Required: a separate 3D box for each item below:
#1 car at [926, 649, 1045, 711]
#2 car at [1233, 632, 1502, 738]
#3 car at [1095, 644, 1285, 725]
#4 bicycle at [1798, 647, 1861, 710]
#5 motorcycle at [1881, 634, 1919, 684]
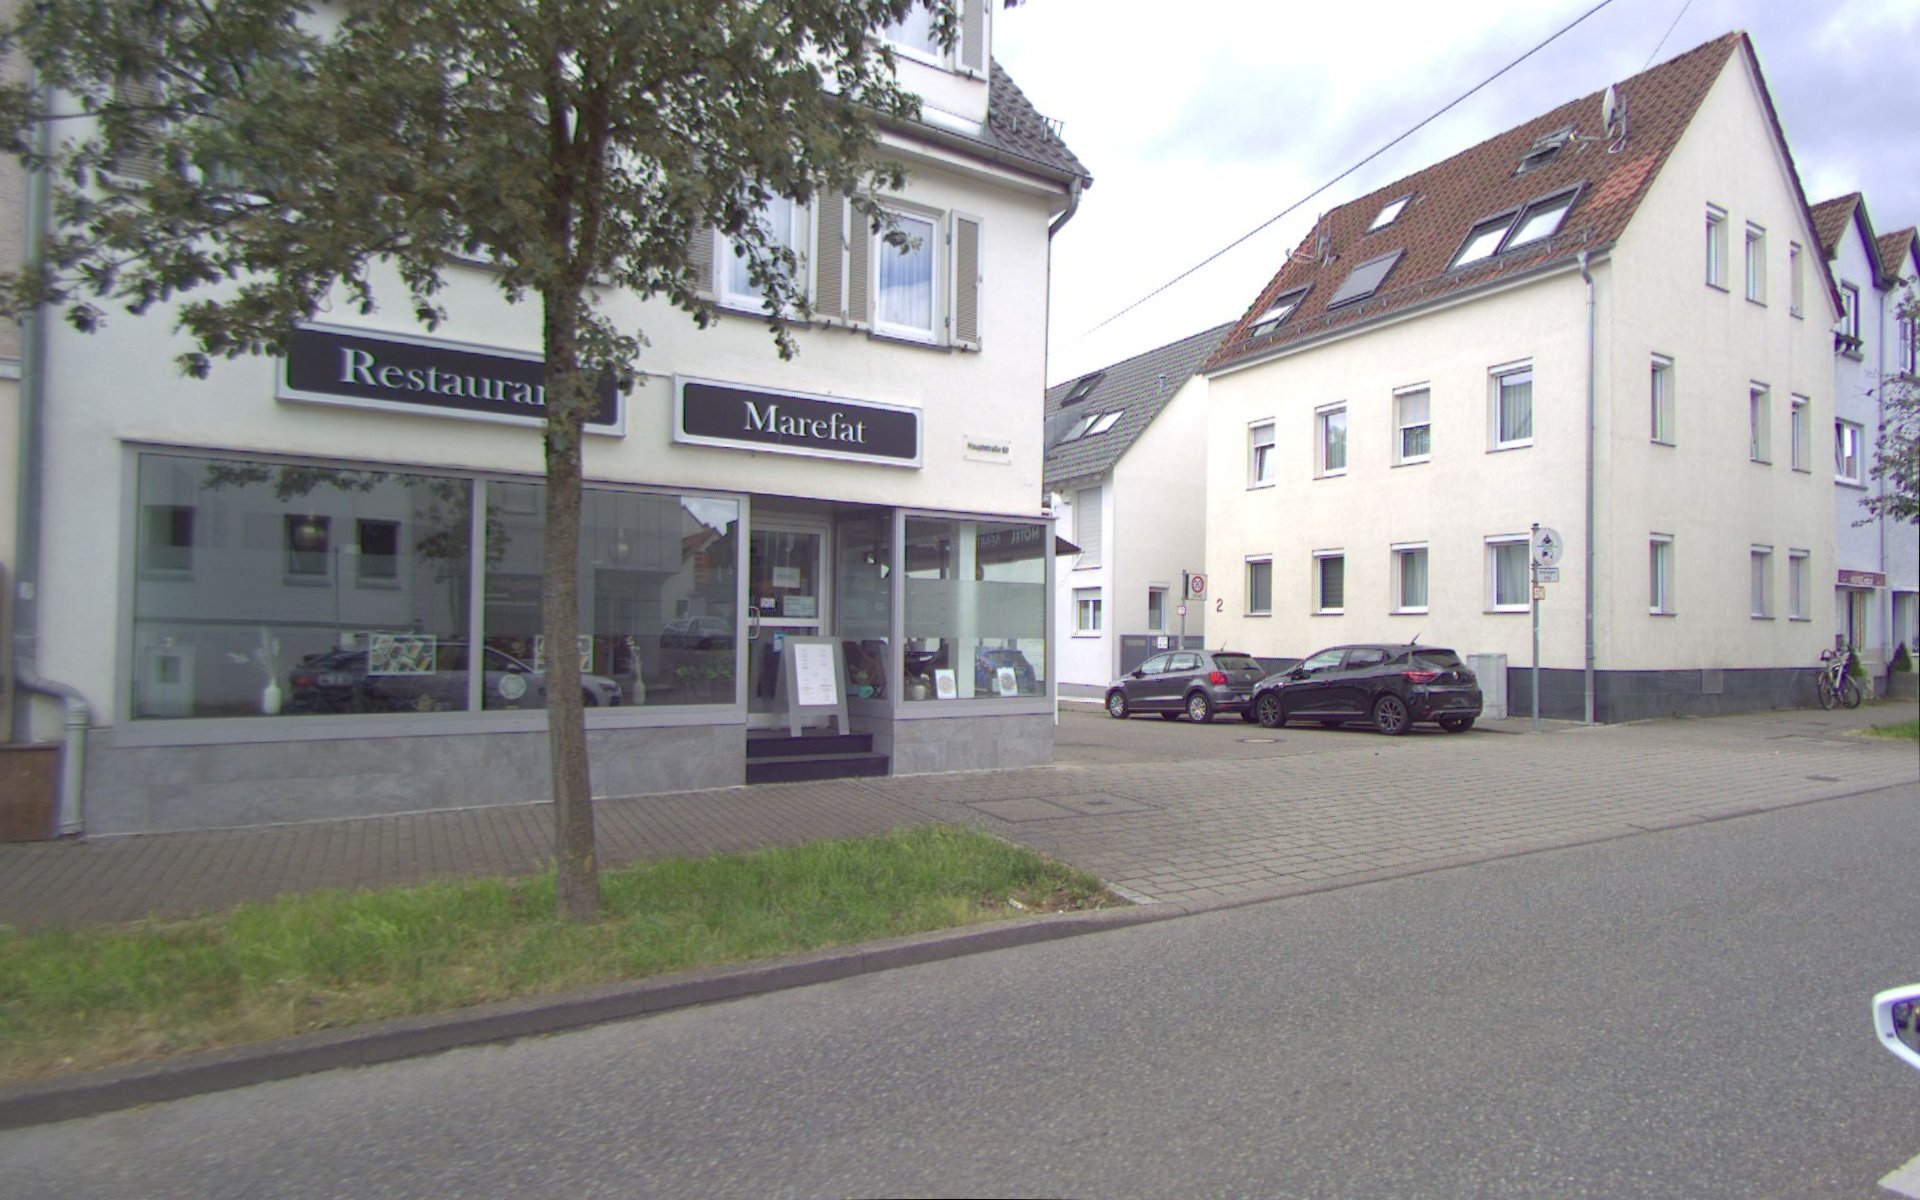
[{"bbox_3d":[0.638,2.231,28.046,1.650,1.597,3.687,1,-4,-29],"label":"car"},{"bbox_3d":[6.696,1.395,16.951,1.715,1.554,3.969,1,-4,-30],"label":"car"},{"bbox_3d":[4.617,1.725,20.644,1.652,1.505,3.683,1,-5,-32],"label":"car"},{"bbox_3d":[17.163,1.528,19.815,1.648,1.169,0.511,2,-1,-33],"label":"bicycle"},{"bbox_3d":[28.892,1.757,29.467,0.694,1.428,2.686,1,-1,-39],"label":"motorcycle"}]
